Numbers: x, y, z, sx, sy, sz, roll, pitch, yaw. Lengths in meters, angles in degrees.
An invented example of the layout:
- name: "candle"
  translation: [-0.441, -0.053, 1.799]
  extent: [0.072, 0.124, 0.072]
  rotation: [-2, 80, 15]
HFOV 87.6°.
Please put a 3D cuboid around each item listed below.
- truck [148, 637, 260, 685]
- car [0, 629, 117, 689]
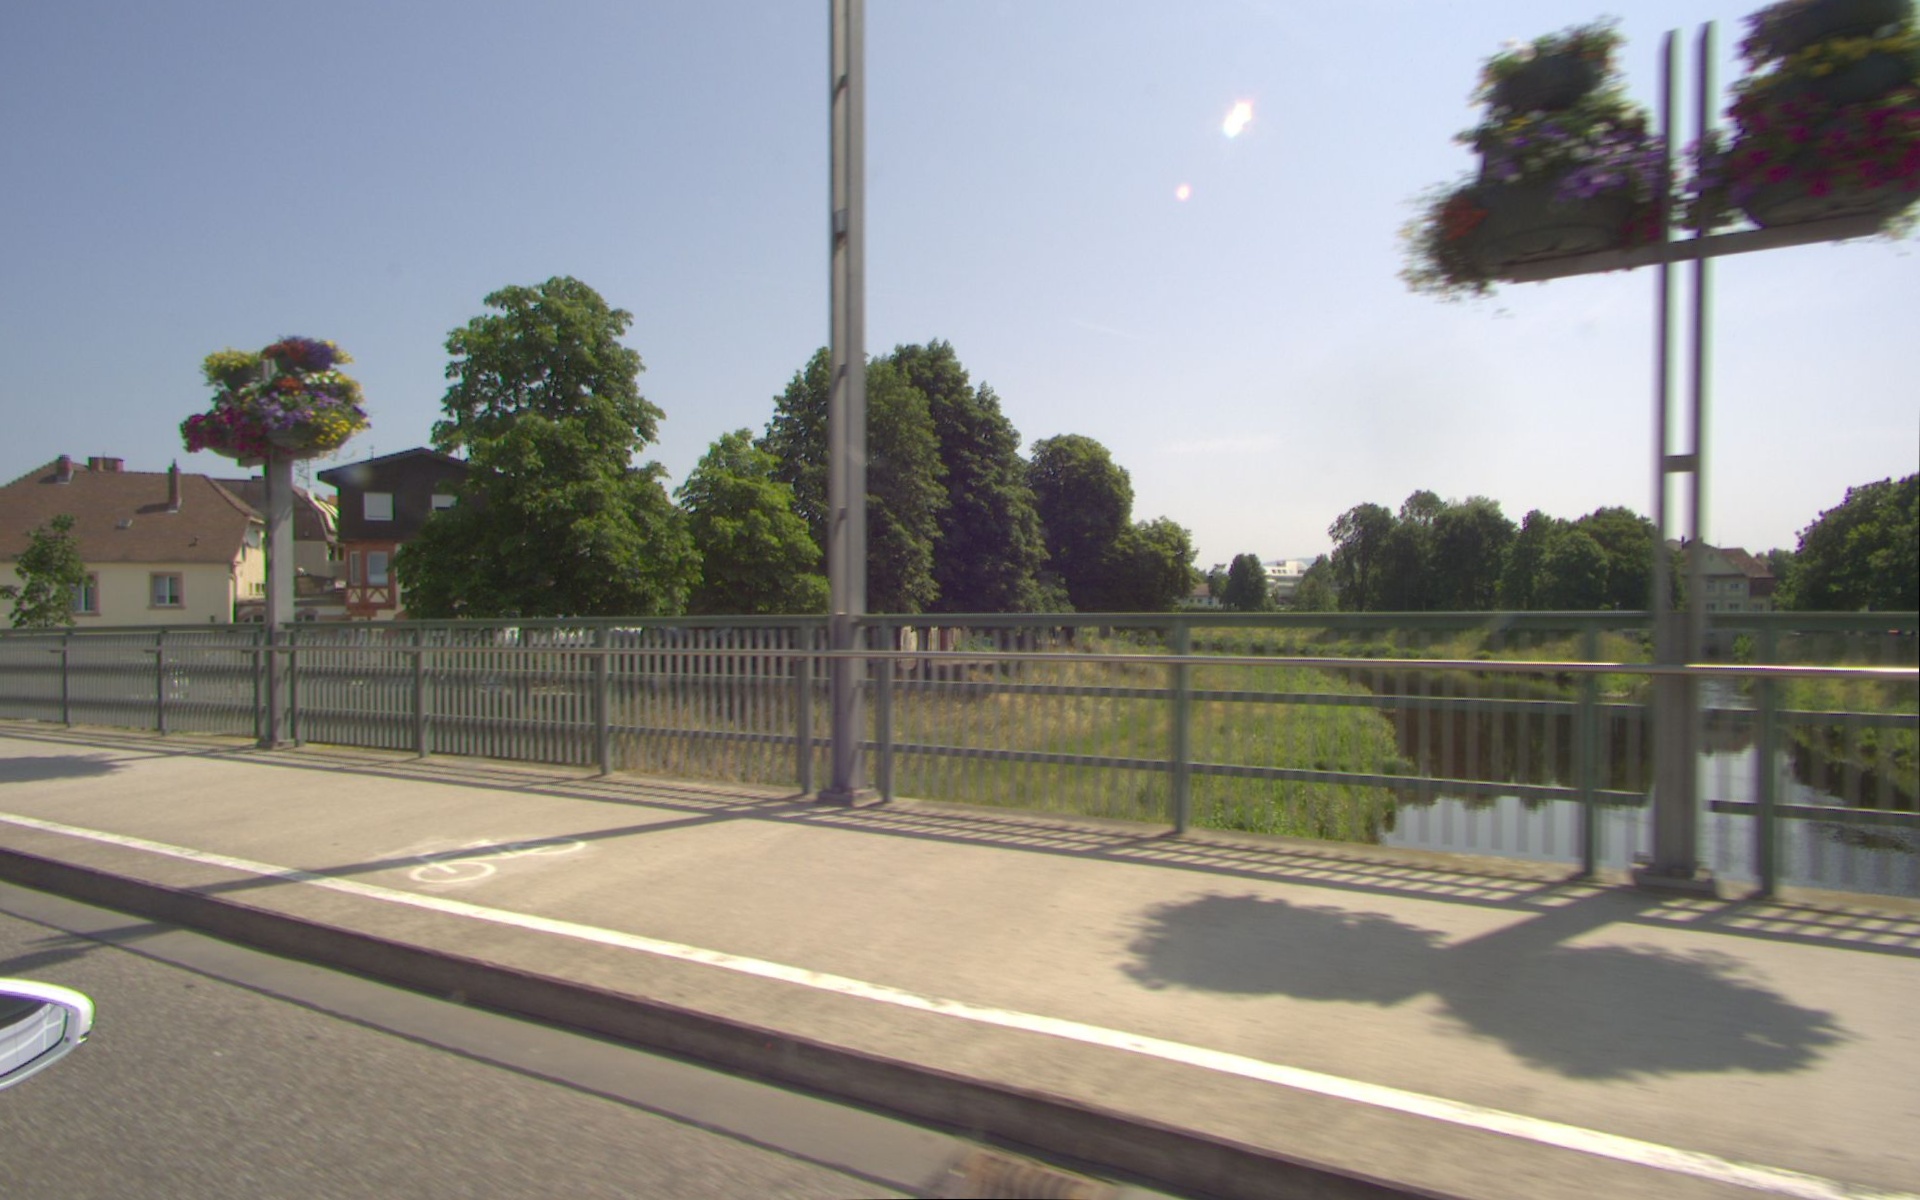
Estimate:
- name: "truck"
  translation: [-36.689, 2.950, 48.726]
  extent: [4.008, 2.243, 1.806]
  rotation: [1, -1, -27]
- name: "car"
  translation: [-42.598, 2.689, 46.003]
  extent: [5.549, 2.662, 2.232]
  rotation: [0, -1, -28]
